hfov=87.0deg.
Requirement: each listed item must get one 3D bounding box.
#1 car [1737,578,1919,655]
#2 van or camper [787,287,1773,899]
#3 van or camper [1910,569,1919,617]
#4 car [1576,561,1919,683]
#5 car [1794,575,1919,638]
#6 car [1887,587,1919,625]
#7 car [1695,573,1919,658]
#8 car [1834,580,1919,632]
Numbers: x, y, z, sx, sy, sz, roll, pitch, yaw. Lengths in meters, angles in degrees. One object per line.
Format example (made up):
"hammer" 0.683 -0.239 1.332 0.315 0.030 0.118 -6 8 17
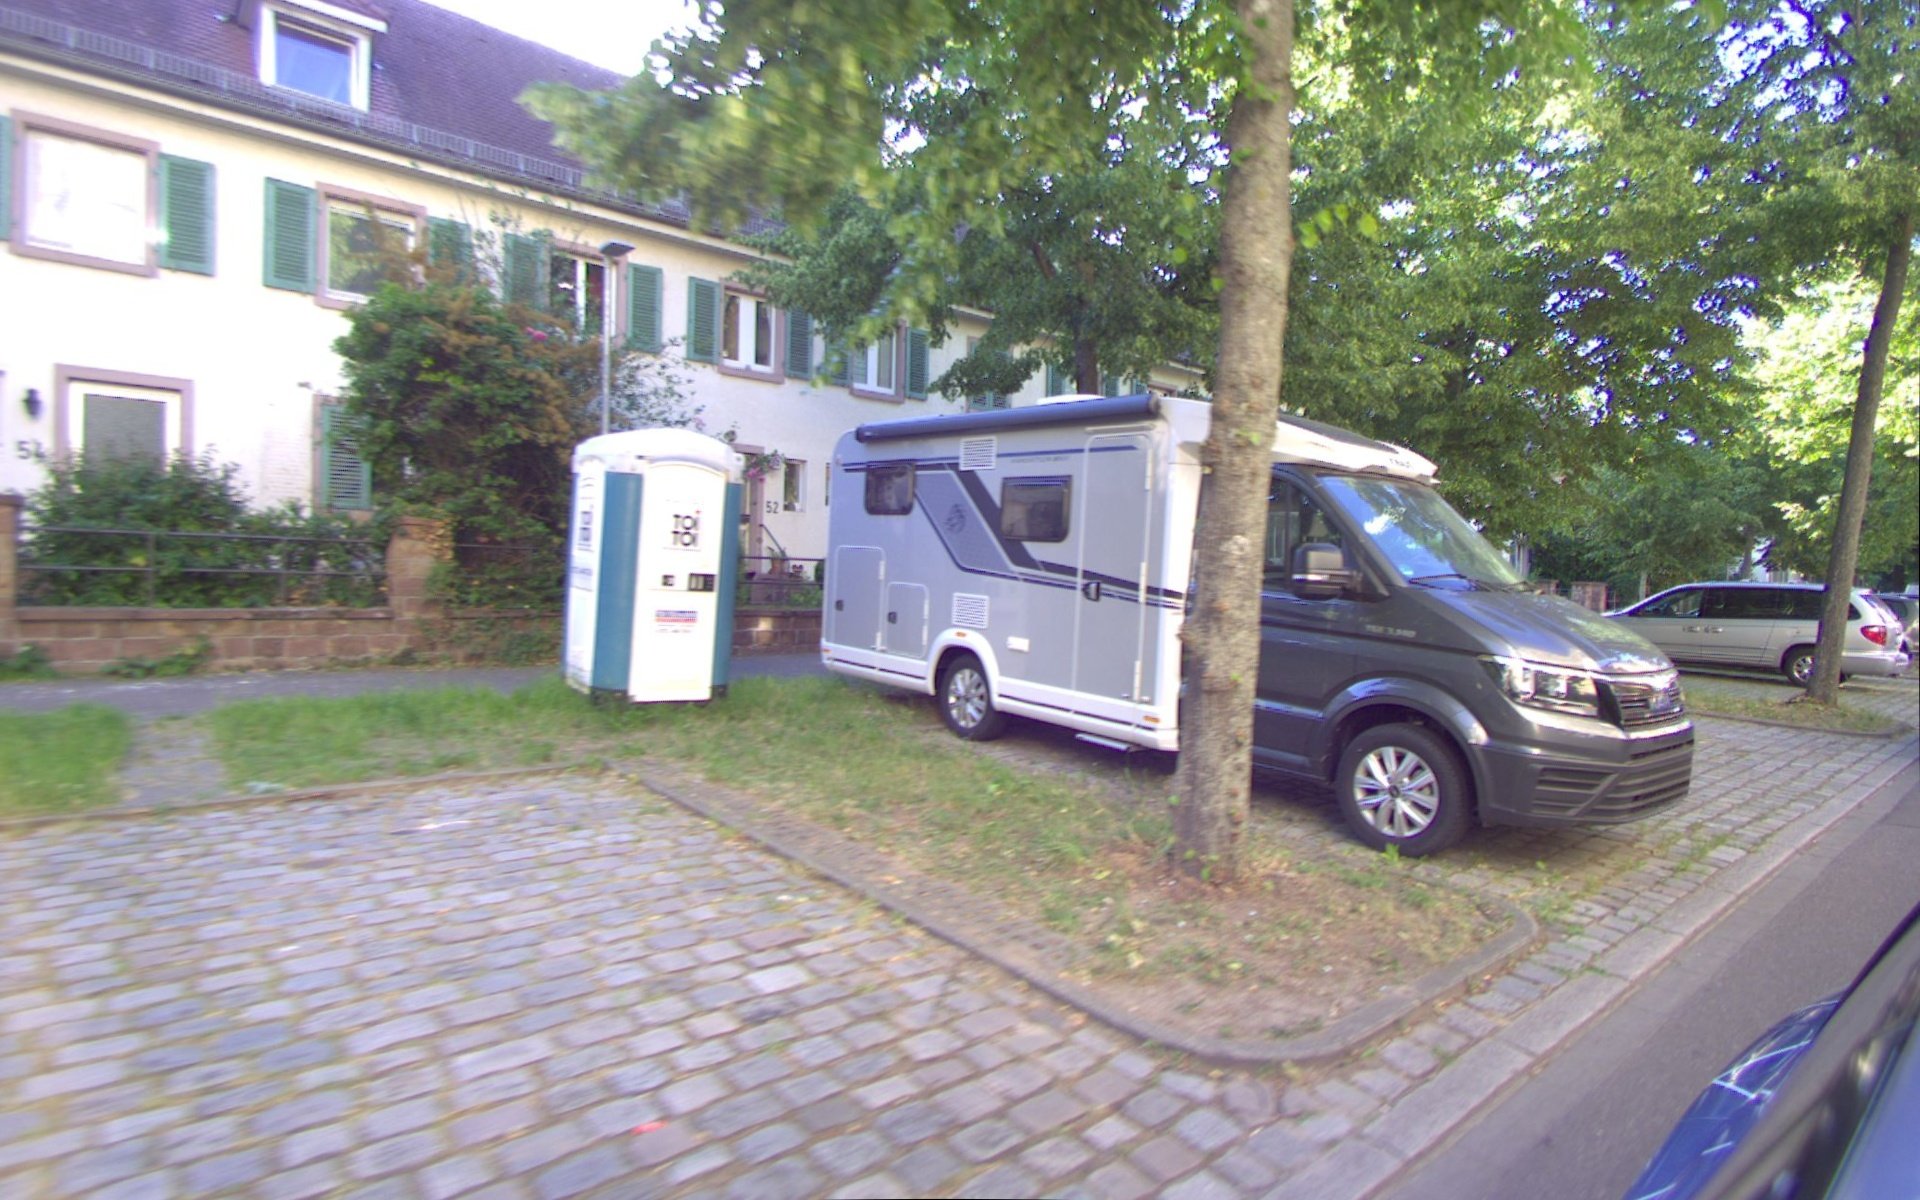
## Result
"car" 23.783 0.401 27.161 1.659 1.653 4.288 1 5 -37
"van or camper" 1.490 -0.329 7.987 2.419 2.678 7.171 1 5 -38
"van or camper" 53.748 -0.110 52.799 2.124 2.546 5.734 1 5 -41
"car" 14.053 0.283 18.236 1.800 1.730 4.633 1 4 -39
"car" 29.460 0.243 31.820 1.872 1.697 4.596 1 5 -38
"car" 43.803 0.424 44.074 1.862 1.557 4.848 0 5 -42
"car" 21.392 0.319 25.346 4.543 1.653 1.783 7 5 44
"car" 34.764 0.301 36.605 1.843 1.653 4.487 0 5 -41
